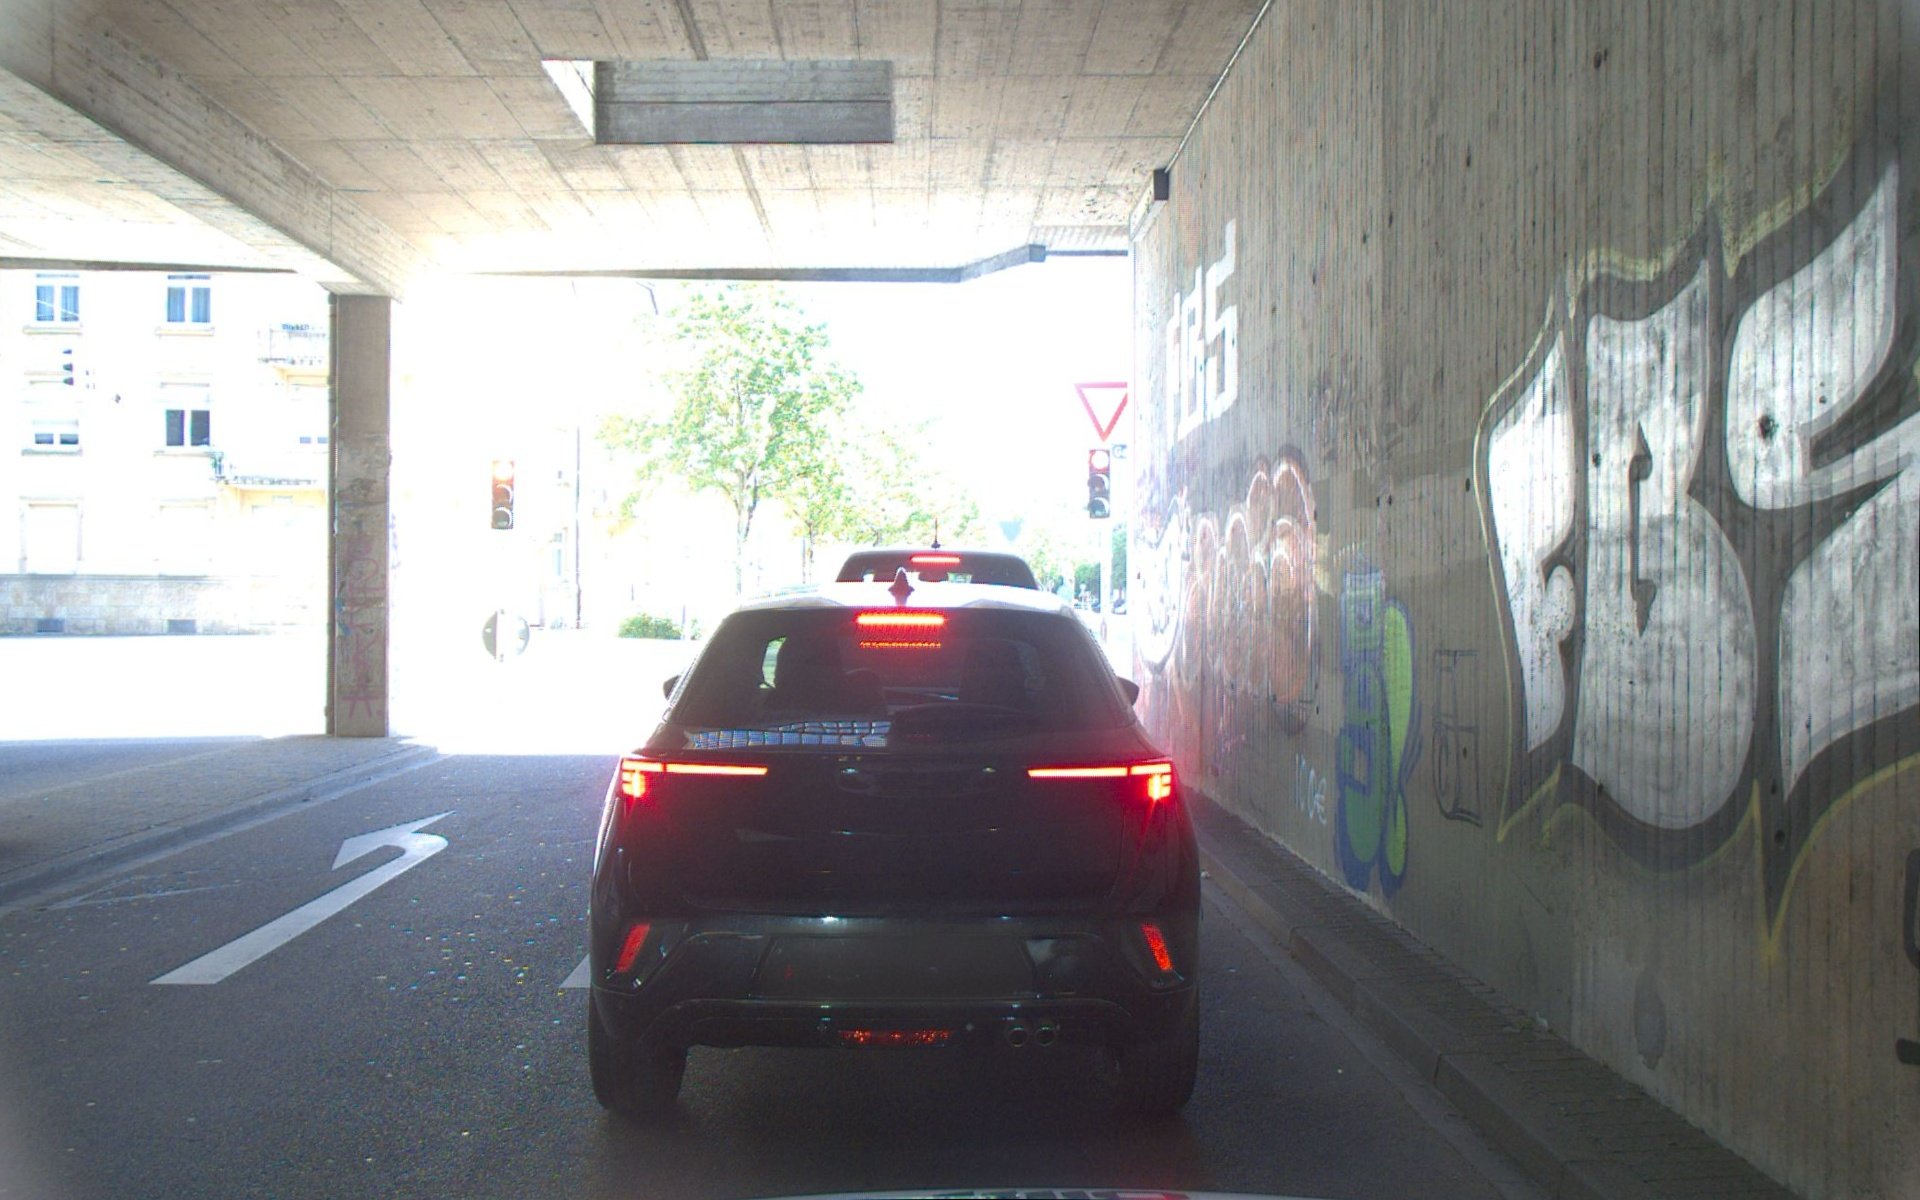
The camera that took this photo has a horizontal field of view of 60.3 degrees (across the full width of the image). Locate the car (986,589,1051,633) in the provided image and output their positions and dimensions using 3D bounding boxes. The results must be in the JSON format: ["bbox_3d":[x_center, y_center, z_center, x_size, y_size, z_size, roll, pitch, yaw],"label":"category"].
[{"bbox_3d":[2.471,0.492,69.024,2.173,1.749,4.463,0,-1,9],"label":"car"}]

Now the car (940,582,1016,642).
[{"bbox_3d":[0.497,0.343,44.165,1.927,1.523,3.896,0,-1,1],"label":"car"}]

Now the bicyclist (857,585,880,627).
[{"bbox_3d":[-3.491,0.227,62.995,0.713,1.609,0.815,1,-1,9],"label":"bicyclist"}]

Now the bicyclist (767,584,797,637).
[{"bbox_3d":[-5.537,0.320,51.443,0.713,1.609,0.815,1,-1,9],"label":"bicyclist"}]

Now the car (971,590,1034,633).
[{"bbox_3d":[1.624,0.449,62.202,1.926,1.523,3.899,0,-1,8],"label":"car"}]

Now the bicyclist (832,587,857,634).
[{"bbox_3d":[-4.067,0.373,58.222,0.713,1.609,0.815,1,-1,9],"label":"bicyclist"}]

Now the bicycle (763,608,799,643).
[{"bbox_3d":[-5.556,0.785,51.409,0.716,1.086,1.690,1,0,9],"label":"bicycle"}]

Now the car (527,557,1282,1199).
[{"bbox_3d":[-0.161,0.673,6.047,1.844,1.565,3.963,0,0,-1],"label":"car"}]

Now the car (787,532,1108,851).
[{"bbox_3d":[-0.100,0.535,11.871,1.906,1.892,3.963,0,0,-1],"label":"car"}]

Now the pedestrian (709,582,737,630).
[{"bbox_3d":[-10.337,0.264,72.215,0.971,2.049,1.089,0,0,7],"label":"pedestrian"}]

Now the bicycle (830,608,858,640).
[{"bbox_3d":[-4.093,0.838,58.230,0.612,1.086,1.690,1,0,9],"label":"bicycle"}]
